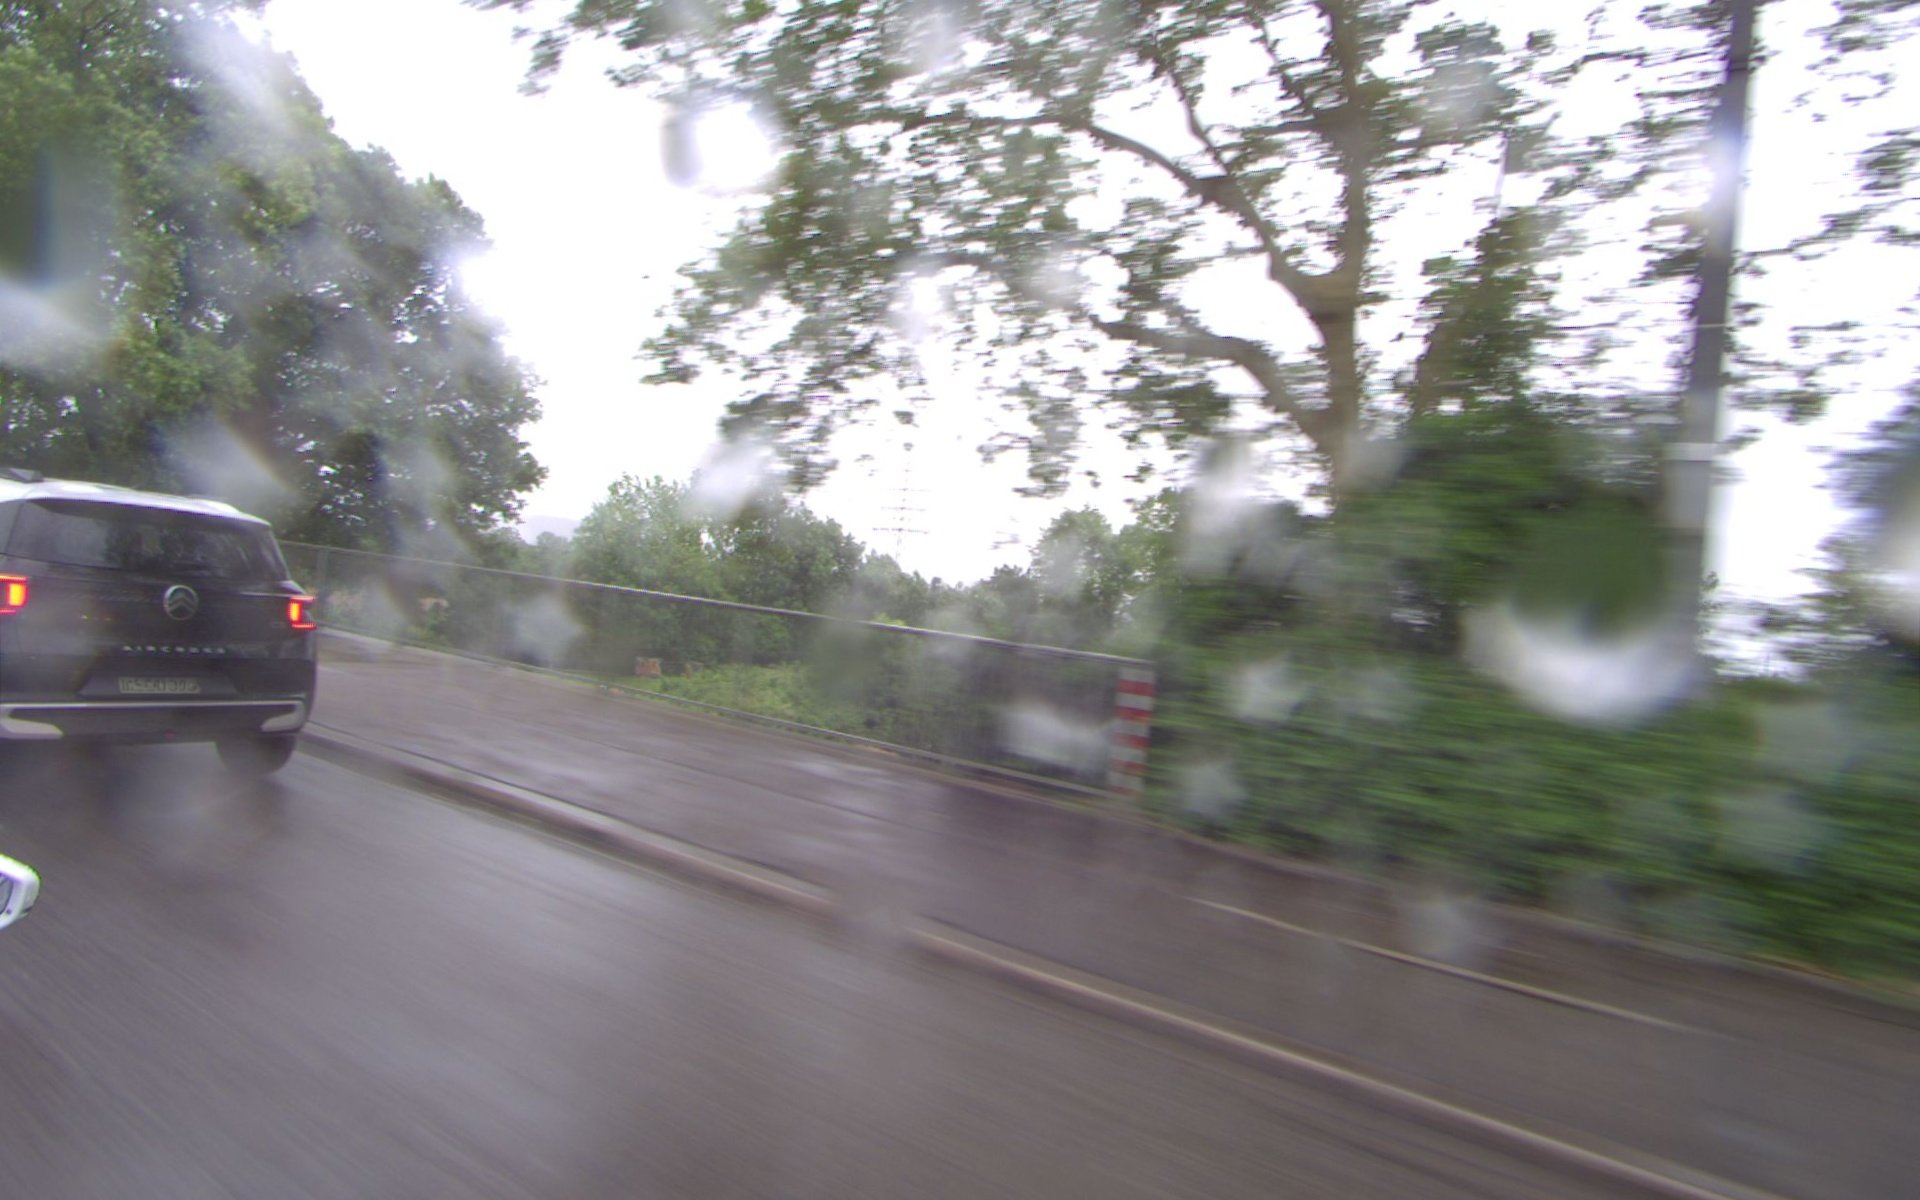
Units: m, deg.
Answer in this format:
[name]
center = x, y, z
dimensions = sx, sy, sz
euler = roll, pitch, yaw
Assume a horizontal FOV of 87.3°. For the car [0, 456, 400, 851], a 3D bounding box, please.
[car]
center = -5.845, 0.054, 6.216
dimensions = 4.645, 1.737, 1.904
euler = 8, -1, 30
